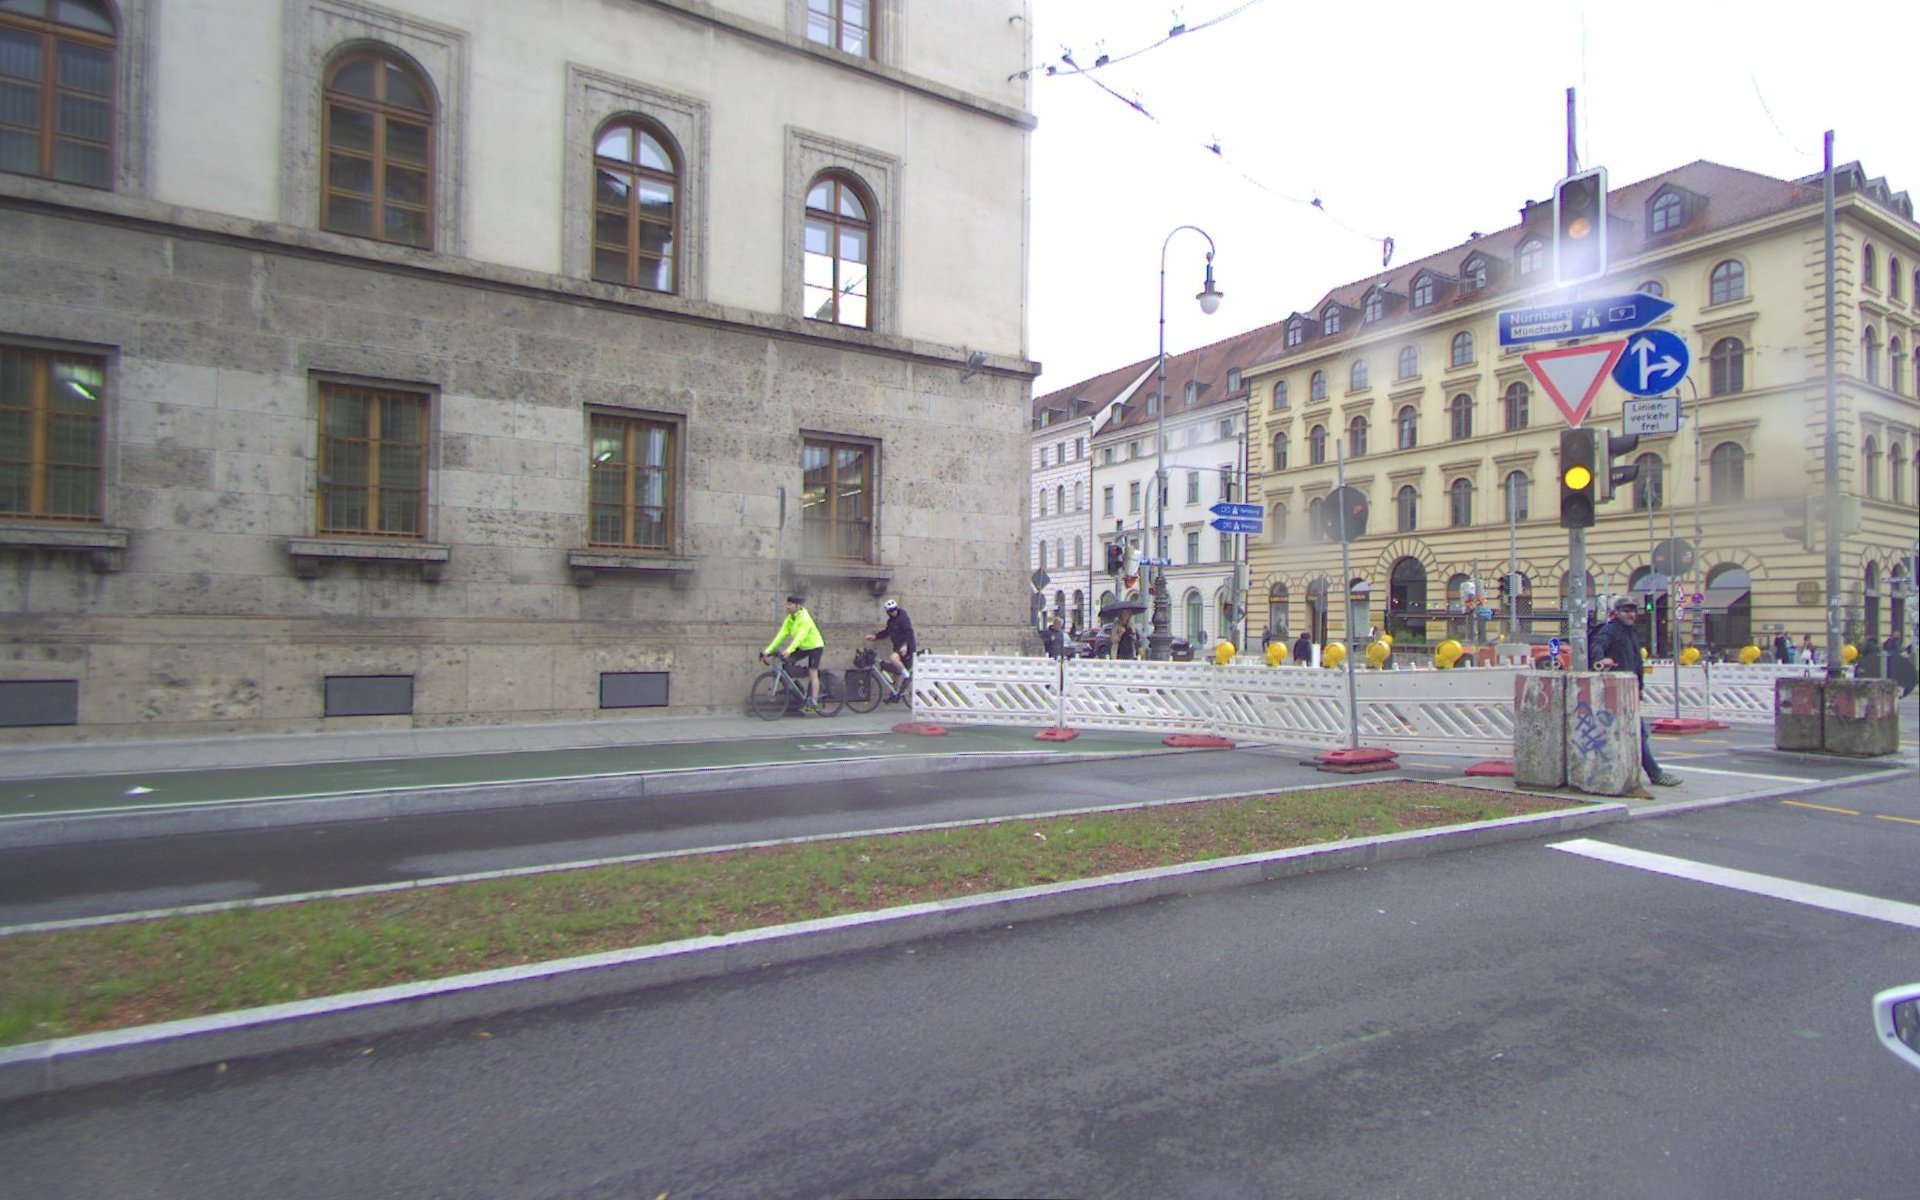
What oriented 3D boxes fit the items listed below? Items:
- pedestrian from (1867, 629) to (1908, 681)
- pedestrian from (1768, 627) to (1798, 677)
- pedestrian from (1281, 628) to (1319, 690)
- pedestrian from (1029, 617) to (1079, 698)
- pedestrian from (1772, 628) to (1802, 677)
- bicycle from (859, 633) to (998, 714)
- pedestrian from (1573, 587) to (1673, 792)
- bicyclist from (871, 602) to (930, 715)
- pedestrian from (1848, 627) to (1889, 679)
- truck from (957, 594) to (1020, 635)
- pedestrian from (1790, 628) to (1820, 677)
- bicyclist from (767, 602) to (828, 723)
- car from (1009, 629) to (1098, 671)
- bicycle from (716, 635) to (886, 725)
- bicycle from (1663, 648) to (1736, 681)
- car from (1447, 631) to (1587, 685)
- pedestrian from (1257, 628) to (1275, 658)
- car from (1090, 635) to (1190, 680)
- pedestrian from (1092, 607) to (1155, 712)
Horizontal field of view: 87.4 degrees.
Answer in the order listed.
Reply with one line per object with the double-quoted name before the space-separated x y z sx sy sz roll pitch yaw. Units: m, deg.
"pedestrian" 32.737 1.924 35.459 0.726 1.795 0.735 1 0 -9
"pedestrian" 30.244 1.898 36.900 0.733 1.795 0.727 1 0 -40
"pedestrian" 10.031 1.733 29.644 0.727 1.795 0.733 1 0 -30
"pedestrian" 2.019 1.233 21.622 0.729 1.676 0.722 4 -2 -25
"pedestrian" 30.804 1.950 37.396 0.733 1.795 0.727 1 0 -40
"bicycle" -0.518 1.194 16.681 2.170 1.259 0.784 1 0 -26
"pedestrian" 6.104 0.788 9.230 1.035 1.766 0.508 1 -1 -41
"bicyclist" -0.984 0.938 16.442 0.680 1.799 0.795 1 0 -26
"pedestrian" 31.967 1.851 35.348 0.747 1.795 0.735 1 0 -9
"truck" 1.918 1.006 69.141 2.196 2.698 4.746 1 -2 -30
"pedestrian" 31.668 1.962 37.657 0.733 1.795 0.728 1 0 -39
"bicyclist" -2.458 0.916 15.168 0.680 1.772 0.795 1 0 -26
"car" 3.931 2.080 42.729 1.781 1.615 3.966 1 0 -31
"bicycle" -2.387 1.176 15.211 2.417 1.259 0.784 1 0 -27
"bicycle" 27.222 2.363 37.016 2.163 1.113 0.598 -1 -2 36
"car" 19.494 1.978 35.280 1.809 1.742 3.953 2 -2 -40
"pedestrian" 18.708 2.627 61.406 0.730 1.795 0.730 1 -1 -31
"car" 7.325 2.321 41.243 1.977 1.706 3.968 1 -2 -30
"pedestrian" 2.884 1.033 17.742 0.730 1.795 0.840 1 0 -28
